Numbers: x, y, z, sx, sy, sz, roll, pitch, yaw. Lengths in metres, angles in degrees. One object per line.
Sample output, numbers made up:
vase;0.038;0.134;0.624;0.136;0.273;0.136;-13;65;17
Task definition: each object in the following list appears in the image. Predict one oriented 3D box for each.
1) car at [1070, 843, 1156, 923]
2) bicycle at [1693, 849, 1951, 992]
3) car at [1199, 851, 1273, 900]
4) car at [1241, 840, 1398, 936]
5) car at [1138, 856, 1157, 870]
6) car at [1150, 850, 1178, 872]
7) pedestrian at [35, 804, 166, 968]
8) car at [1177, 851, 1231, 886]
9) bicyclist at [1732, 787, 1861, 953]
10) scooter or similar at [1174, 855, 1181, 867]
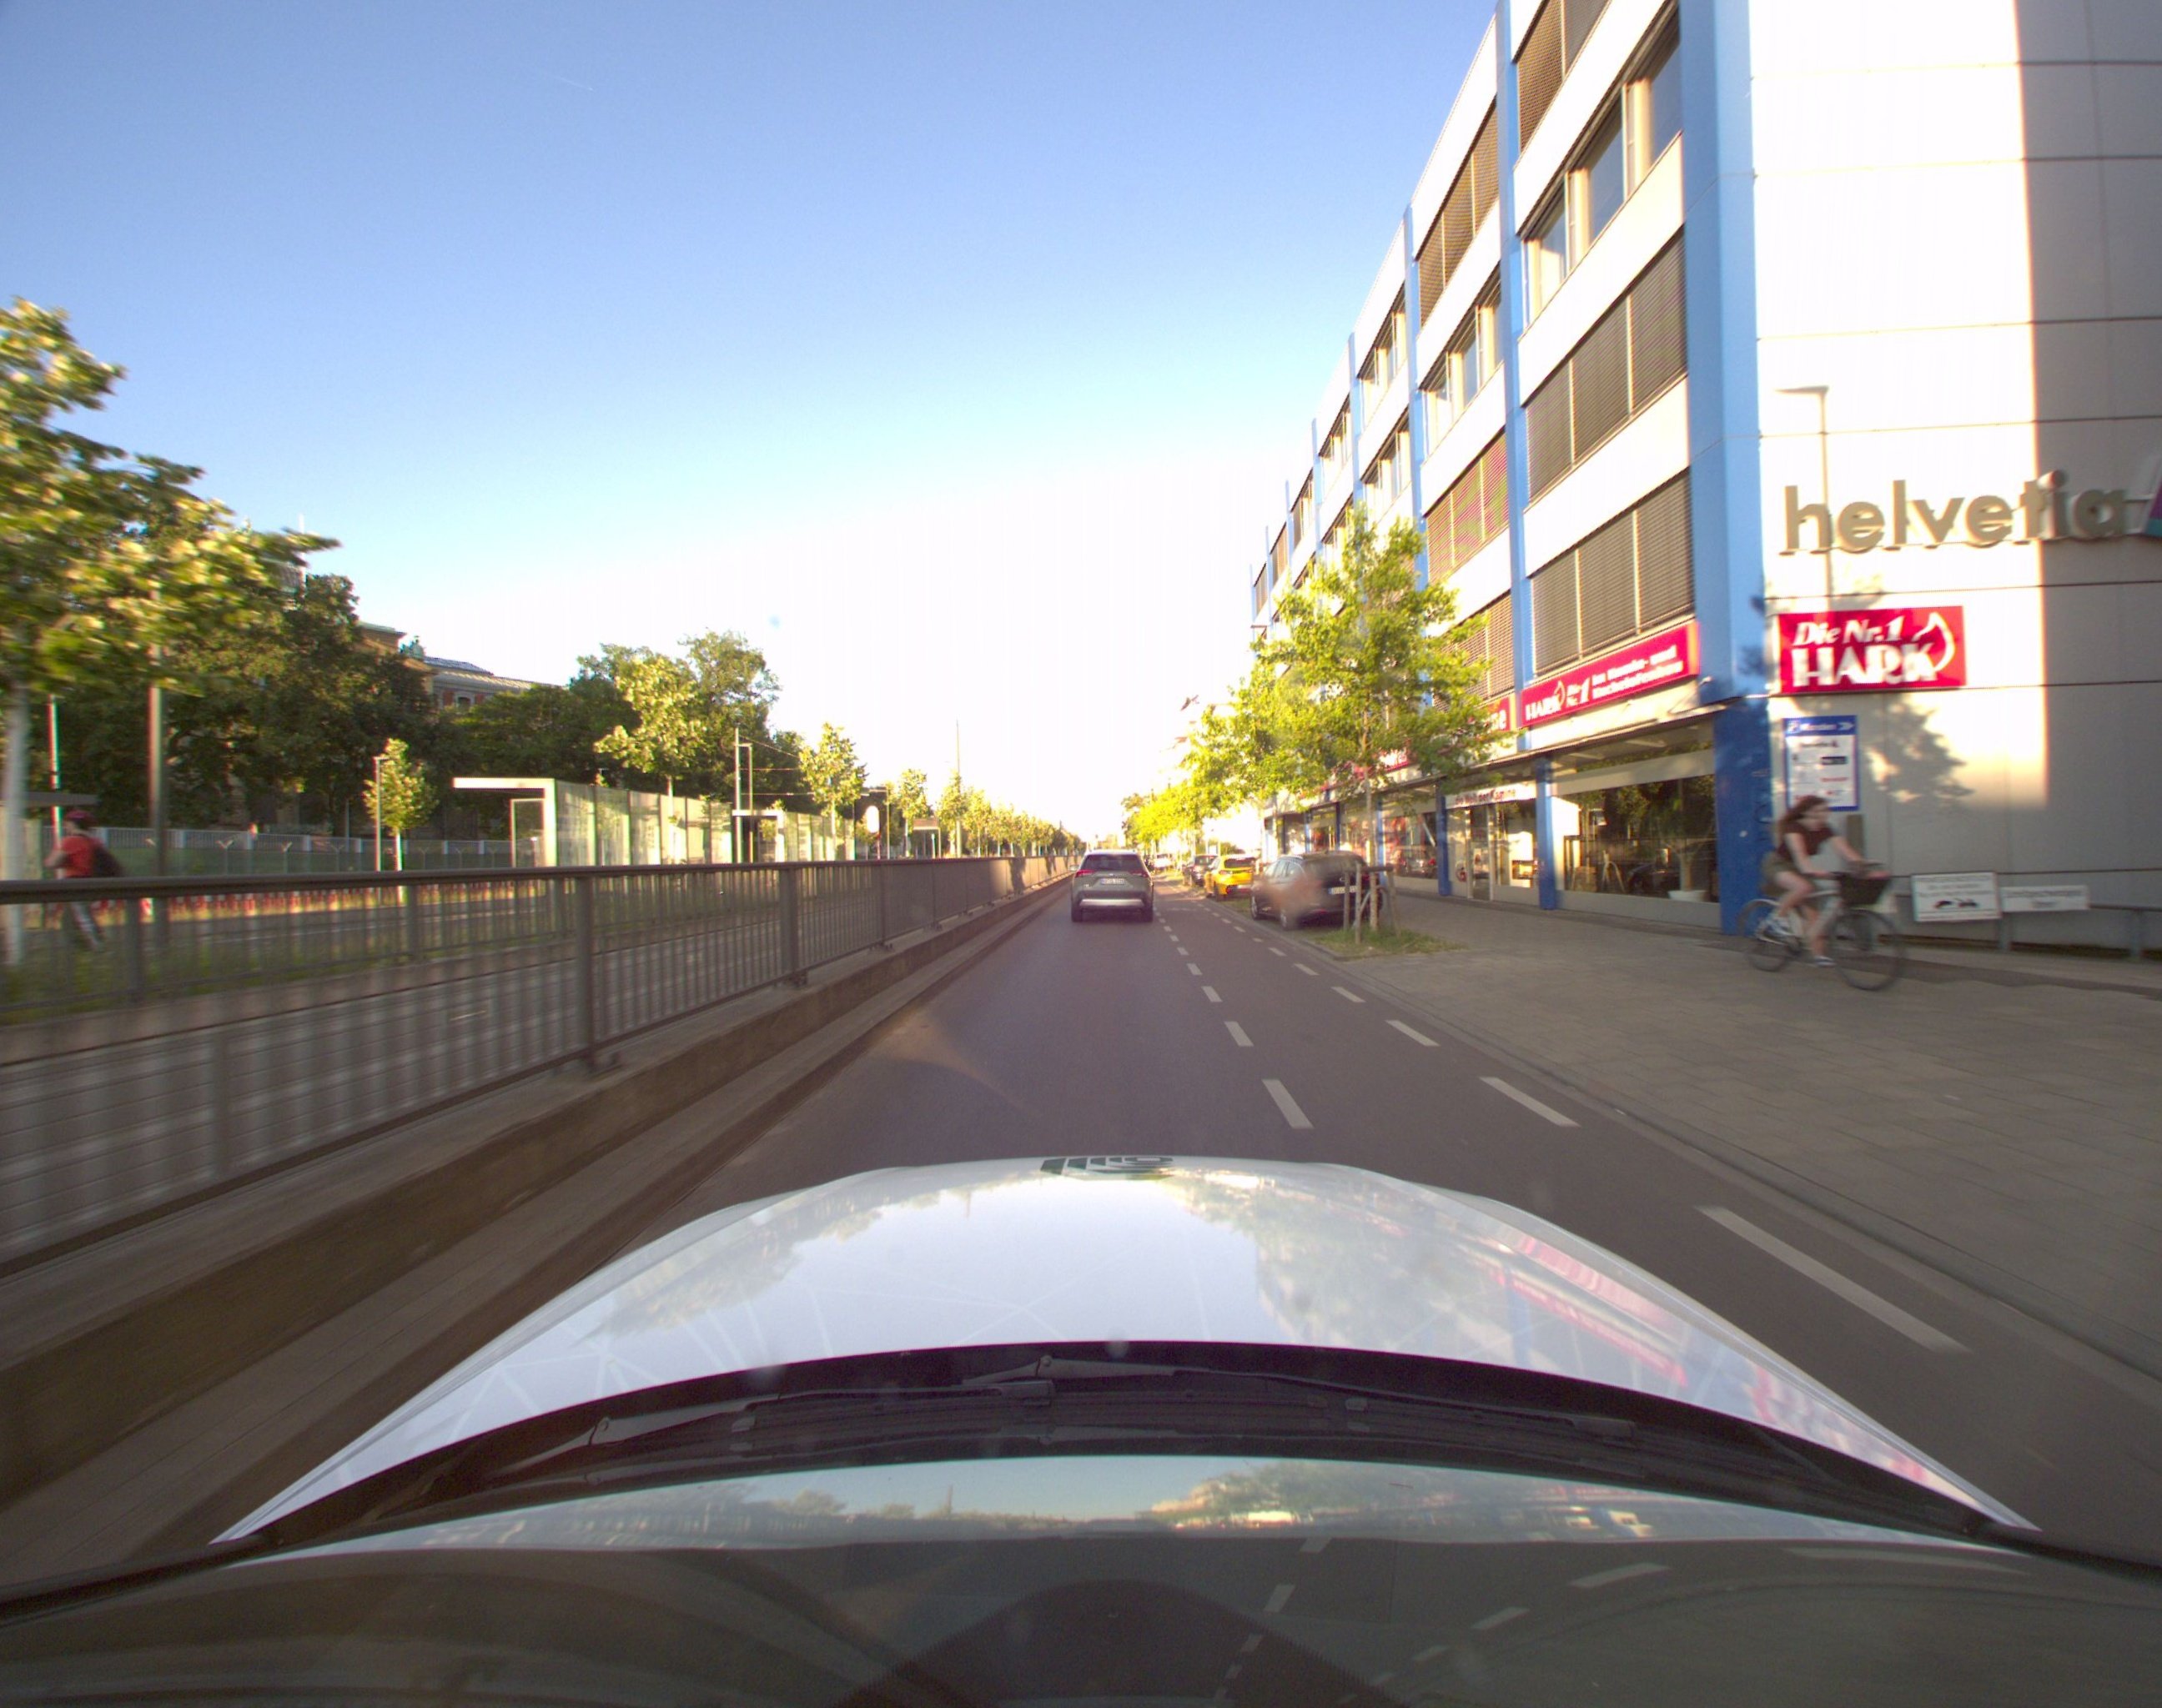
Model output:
car;0.706;0.648;19.653;1.851;1.714;4.192;0;0;0
bicycle;6.824;0.556;7.675;0.552;1.129;1.974;-5;-1;0
car;5.097;0.671;27.298;1.678;1.454;4.129;-3;0;0
car;4.779;0.623;17.124;1.813;1.566;4.810;-5;0;0
car;7.806;1.089;96.136;1.787;1.471;4.443;-4;0;-1
car;6.747;0.575;66.769;1.848;1.706;4.254;-2;0;0
pedestrian;-10.861;0.339;9.045;0.634;1.729;0.634;-2;0;-10
car;5.610;0.630;37.559;1.813;1.454;4.128;-3;0;0
bicyclist;6.790;0.152;7.756;0.556;1.475;0.623;-5;-1;0
scooter or similar;10.411;0.782;87.857;0.489;1.258;1.208;0;-1;-1
